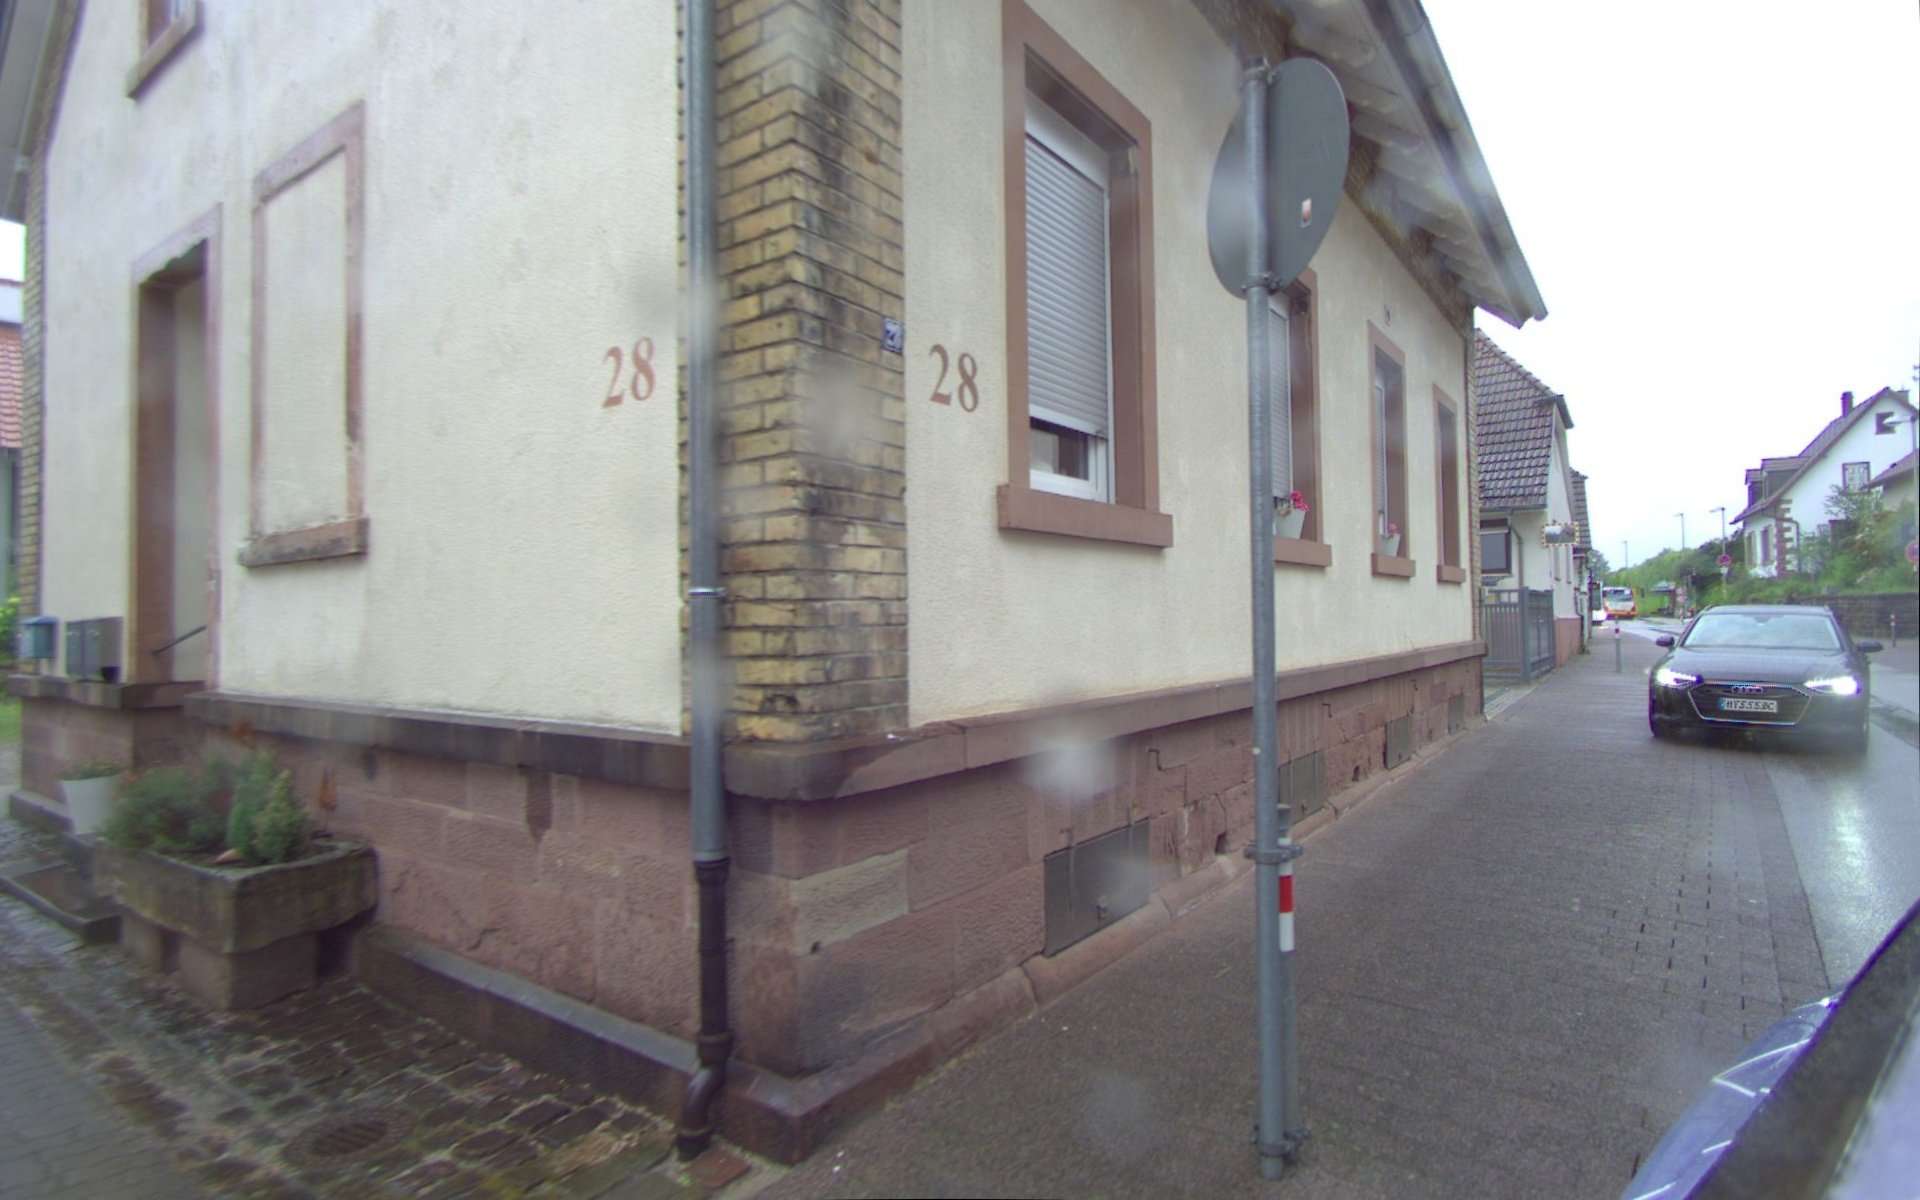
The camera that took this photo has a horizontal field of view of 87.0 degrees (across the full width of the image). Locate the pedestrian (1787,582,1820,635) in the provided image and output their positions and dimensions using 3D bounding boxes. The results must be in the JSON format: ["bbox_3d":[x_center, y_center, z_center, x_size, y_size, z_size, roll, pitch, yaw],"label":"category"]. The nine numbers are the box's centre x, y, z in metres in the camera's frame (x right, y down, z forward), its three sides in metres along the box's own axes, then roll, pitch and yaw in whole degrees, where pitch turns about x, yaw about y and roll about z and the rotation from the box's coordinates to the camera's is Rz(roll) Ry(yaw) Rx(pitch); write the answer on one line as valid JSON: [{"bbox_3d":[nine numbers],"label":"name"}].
[{"bbox_3d":[28.360,0.277,34.036,0.690,1.754,0.812,-1,-1,29],"label":"pedestrian"}]

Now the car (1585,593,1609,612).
[{"bbox_3d":[73.698,0.305,117.076,1.982,2.039,4.202,-3,-1,29],"label":"car"}]

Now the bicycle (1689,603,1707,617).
[{"bbox_3d":[50.934,0.716,69.831,0.657,0.882,1.915,-3,-4,27],"label":"bicycle"}]

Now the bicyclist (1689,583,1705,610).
[{"bbox_3d":[50.917,-0.241,69.920,0.652,1.793,0.697,-3,-4,26],"label":"bicyclist"}]

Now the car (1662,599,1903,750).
[{"bbox_3d":[9.180,0.693,11.373,1.772,1.374,4.128,-1,-1,39],"label":"car"}]

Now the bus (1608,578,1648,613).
[{"bbox_3d":[62.616,-0.351,95.014,2.794,2.977,11.799,-3,-2,33],"label":"bus"}]

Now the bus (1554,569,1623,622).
[{"bbox_3d":[45.309,-0.290,73.327,3.412,3.455,13.730,-2,-1,29],"label":"bus"}]
